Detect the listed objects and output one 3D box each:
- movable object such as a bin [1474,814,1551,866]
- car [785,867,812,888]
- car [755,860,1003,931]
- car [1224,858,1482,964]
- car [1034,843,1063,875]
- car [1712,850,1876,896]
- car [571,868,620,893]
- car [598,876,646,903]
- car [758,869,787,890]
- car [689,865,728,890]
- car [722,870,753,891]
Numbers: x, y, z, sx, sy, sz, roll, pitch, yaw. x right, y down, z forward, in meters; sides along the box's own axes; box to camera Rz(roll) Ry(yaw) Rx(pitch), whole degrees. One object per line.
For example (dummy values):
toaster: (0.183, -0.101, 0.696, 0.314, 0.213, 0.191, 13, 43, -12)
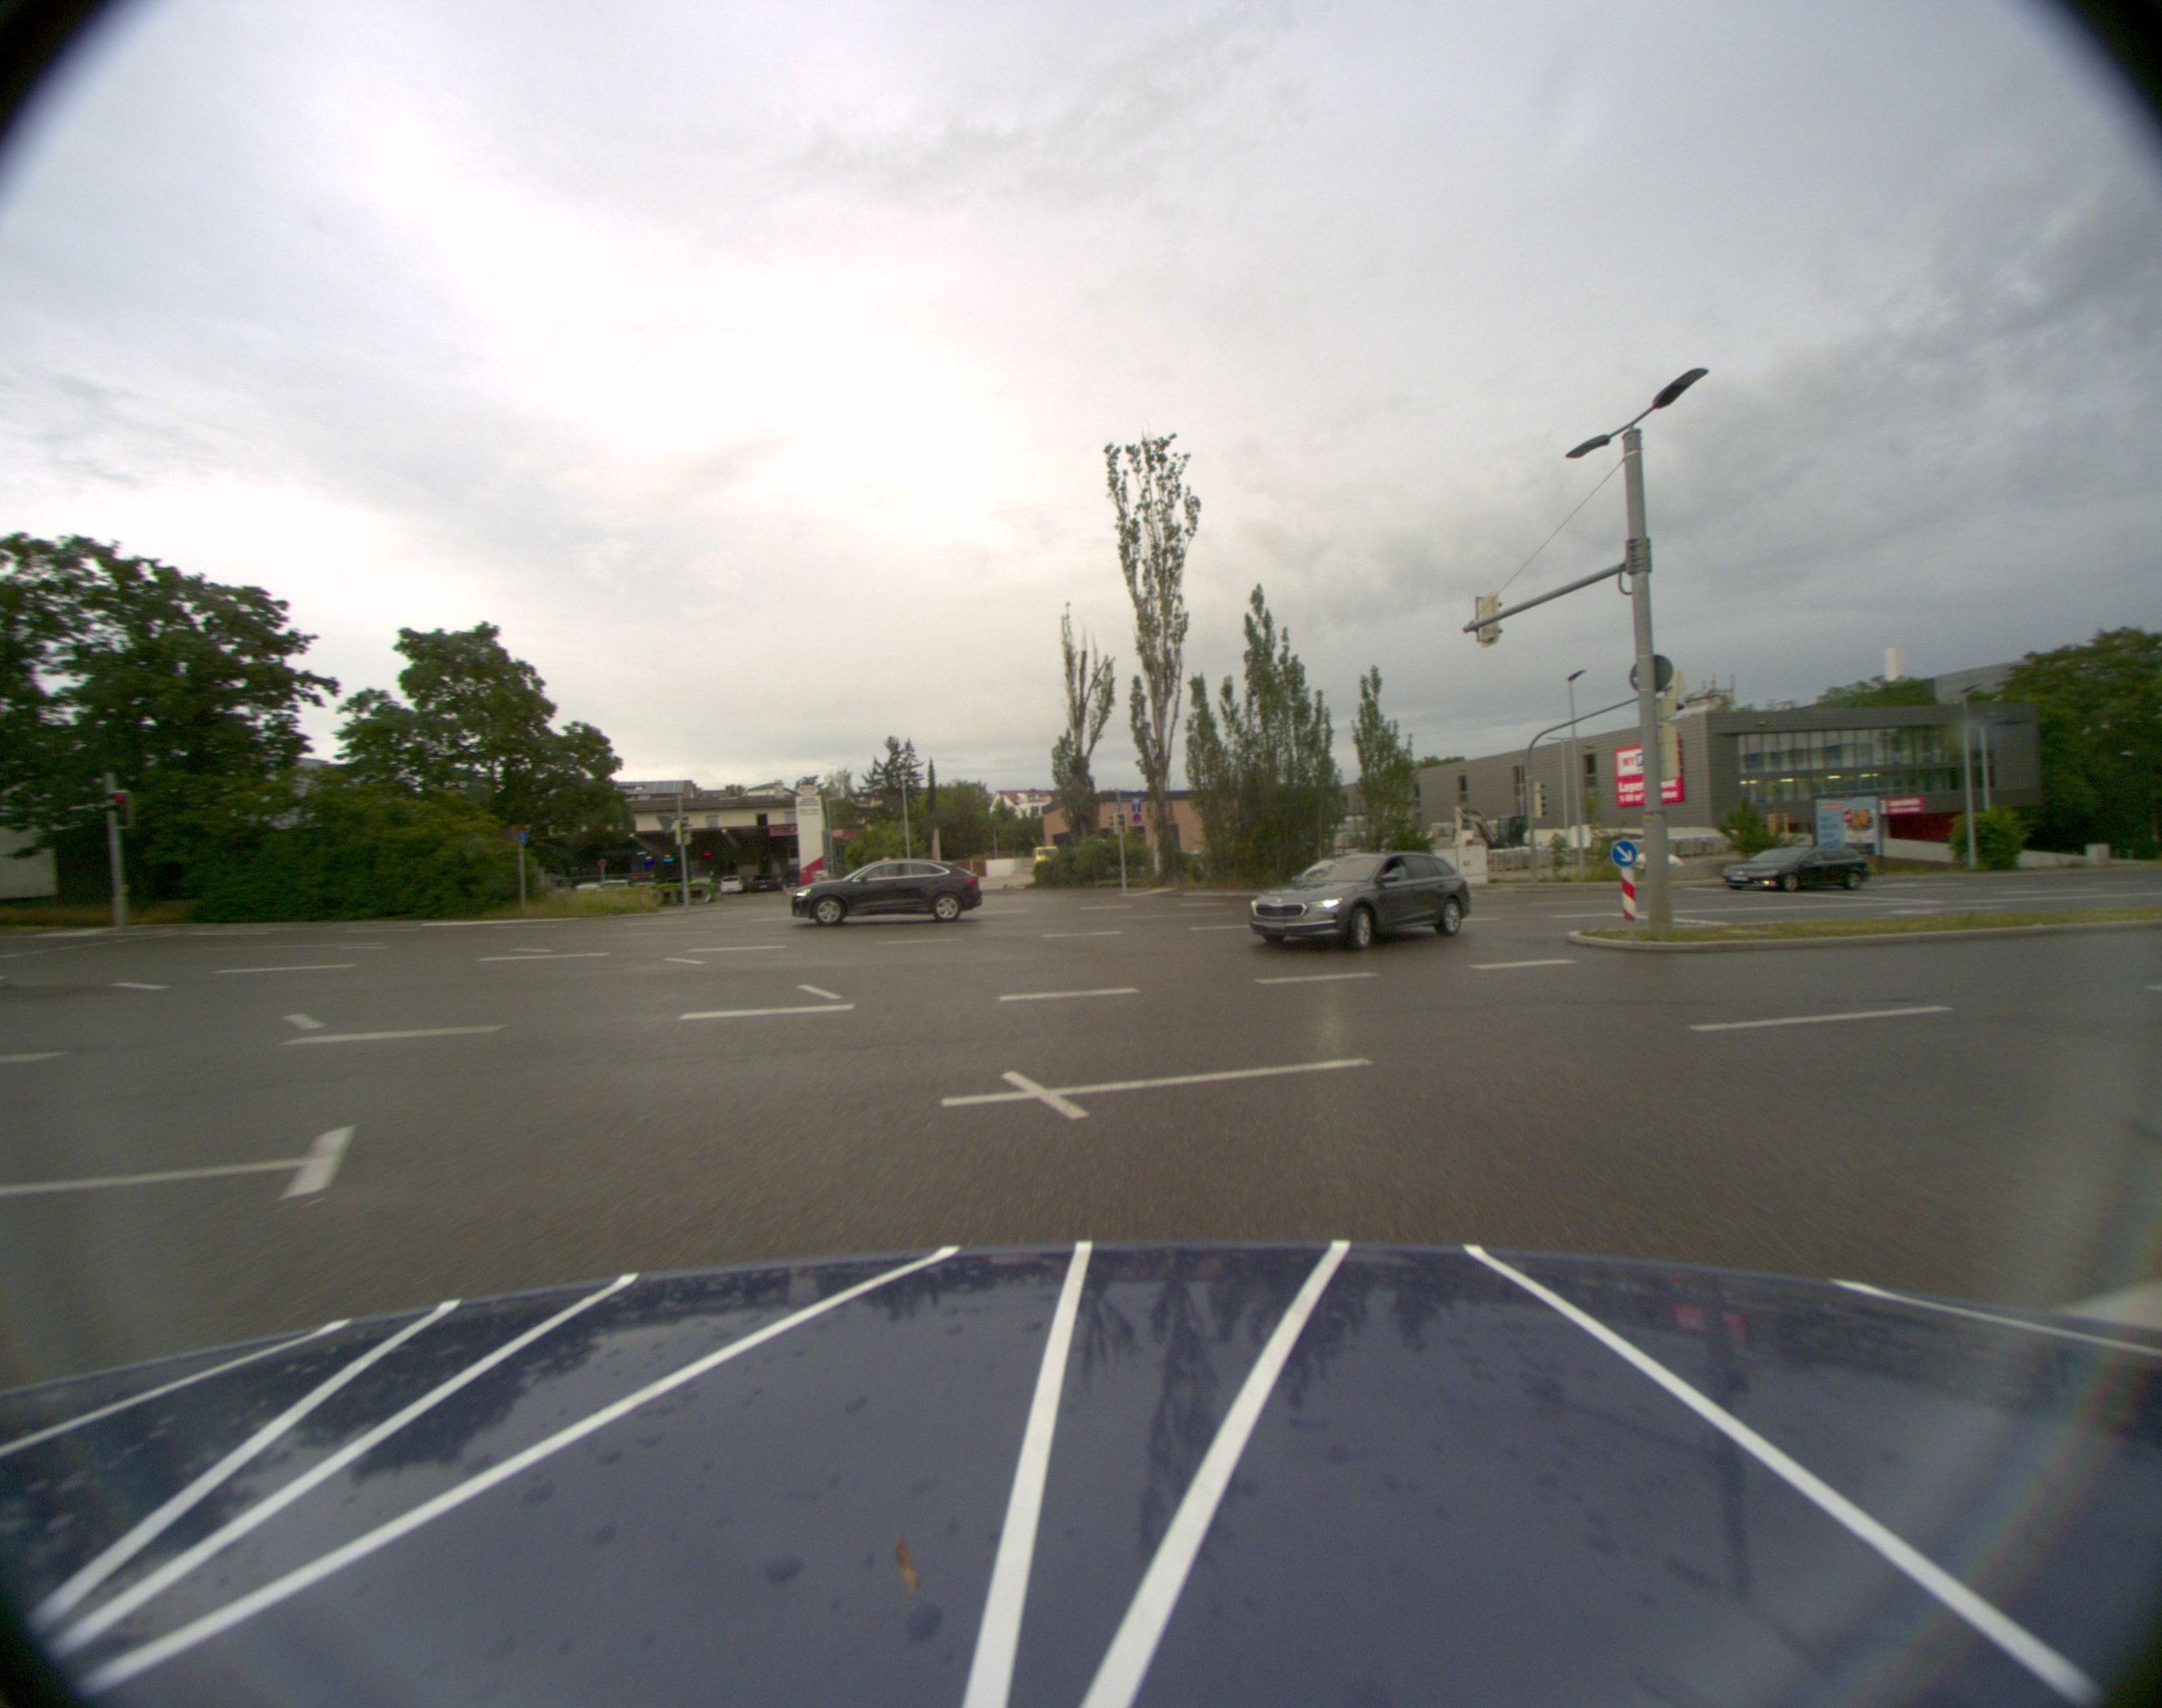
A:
movable object such as a bin: (22.441, -0.721, 39.563, 3.001, 2.611, 1.925, -1, 0, -19)
car: (-23.542, 1.962, 63.411, 1.748, 1.641, 3.995, -1, -1, -16)
car: (-4.803, 0.950, 18.522, 5.537, 1.491, 1.838, -1, 0, -14)
car: (4.572, 0.822, 12.609, 4.209, 1.448, 1.836, -1, 0, -33)
car: (-2.461, 0.374, 56.780, 1.747, 2.301, 5.219, -1, 0, -7)
car: (23.926, 0.605, 25.539, 4.485, 1.396, 1.838, -1, 0, -13)
car: (-34.258, 1.848, 53.720, 1.748, 1.641, 3.995, -1, -1, -16)
car: (-30.636, 2.368, 50.837, 1.748, 1.641, 3.995, -1, -1, -16)
car: (-25.577, 2.055, 63.015, 1.748, 1.641, 3.995, -1, -1, -16)
car: (-25.990, 1.620, 53.100, 1.748, 1.641, 3.995, -1, -1, -16)
car: (-28.219, 2.174, 62.494, 1.748, 1.641, 3.995, -1, -1, -16)
